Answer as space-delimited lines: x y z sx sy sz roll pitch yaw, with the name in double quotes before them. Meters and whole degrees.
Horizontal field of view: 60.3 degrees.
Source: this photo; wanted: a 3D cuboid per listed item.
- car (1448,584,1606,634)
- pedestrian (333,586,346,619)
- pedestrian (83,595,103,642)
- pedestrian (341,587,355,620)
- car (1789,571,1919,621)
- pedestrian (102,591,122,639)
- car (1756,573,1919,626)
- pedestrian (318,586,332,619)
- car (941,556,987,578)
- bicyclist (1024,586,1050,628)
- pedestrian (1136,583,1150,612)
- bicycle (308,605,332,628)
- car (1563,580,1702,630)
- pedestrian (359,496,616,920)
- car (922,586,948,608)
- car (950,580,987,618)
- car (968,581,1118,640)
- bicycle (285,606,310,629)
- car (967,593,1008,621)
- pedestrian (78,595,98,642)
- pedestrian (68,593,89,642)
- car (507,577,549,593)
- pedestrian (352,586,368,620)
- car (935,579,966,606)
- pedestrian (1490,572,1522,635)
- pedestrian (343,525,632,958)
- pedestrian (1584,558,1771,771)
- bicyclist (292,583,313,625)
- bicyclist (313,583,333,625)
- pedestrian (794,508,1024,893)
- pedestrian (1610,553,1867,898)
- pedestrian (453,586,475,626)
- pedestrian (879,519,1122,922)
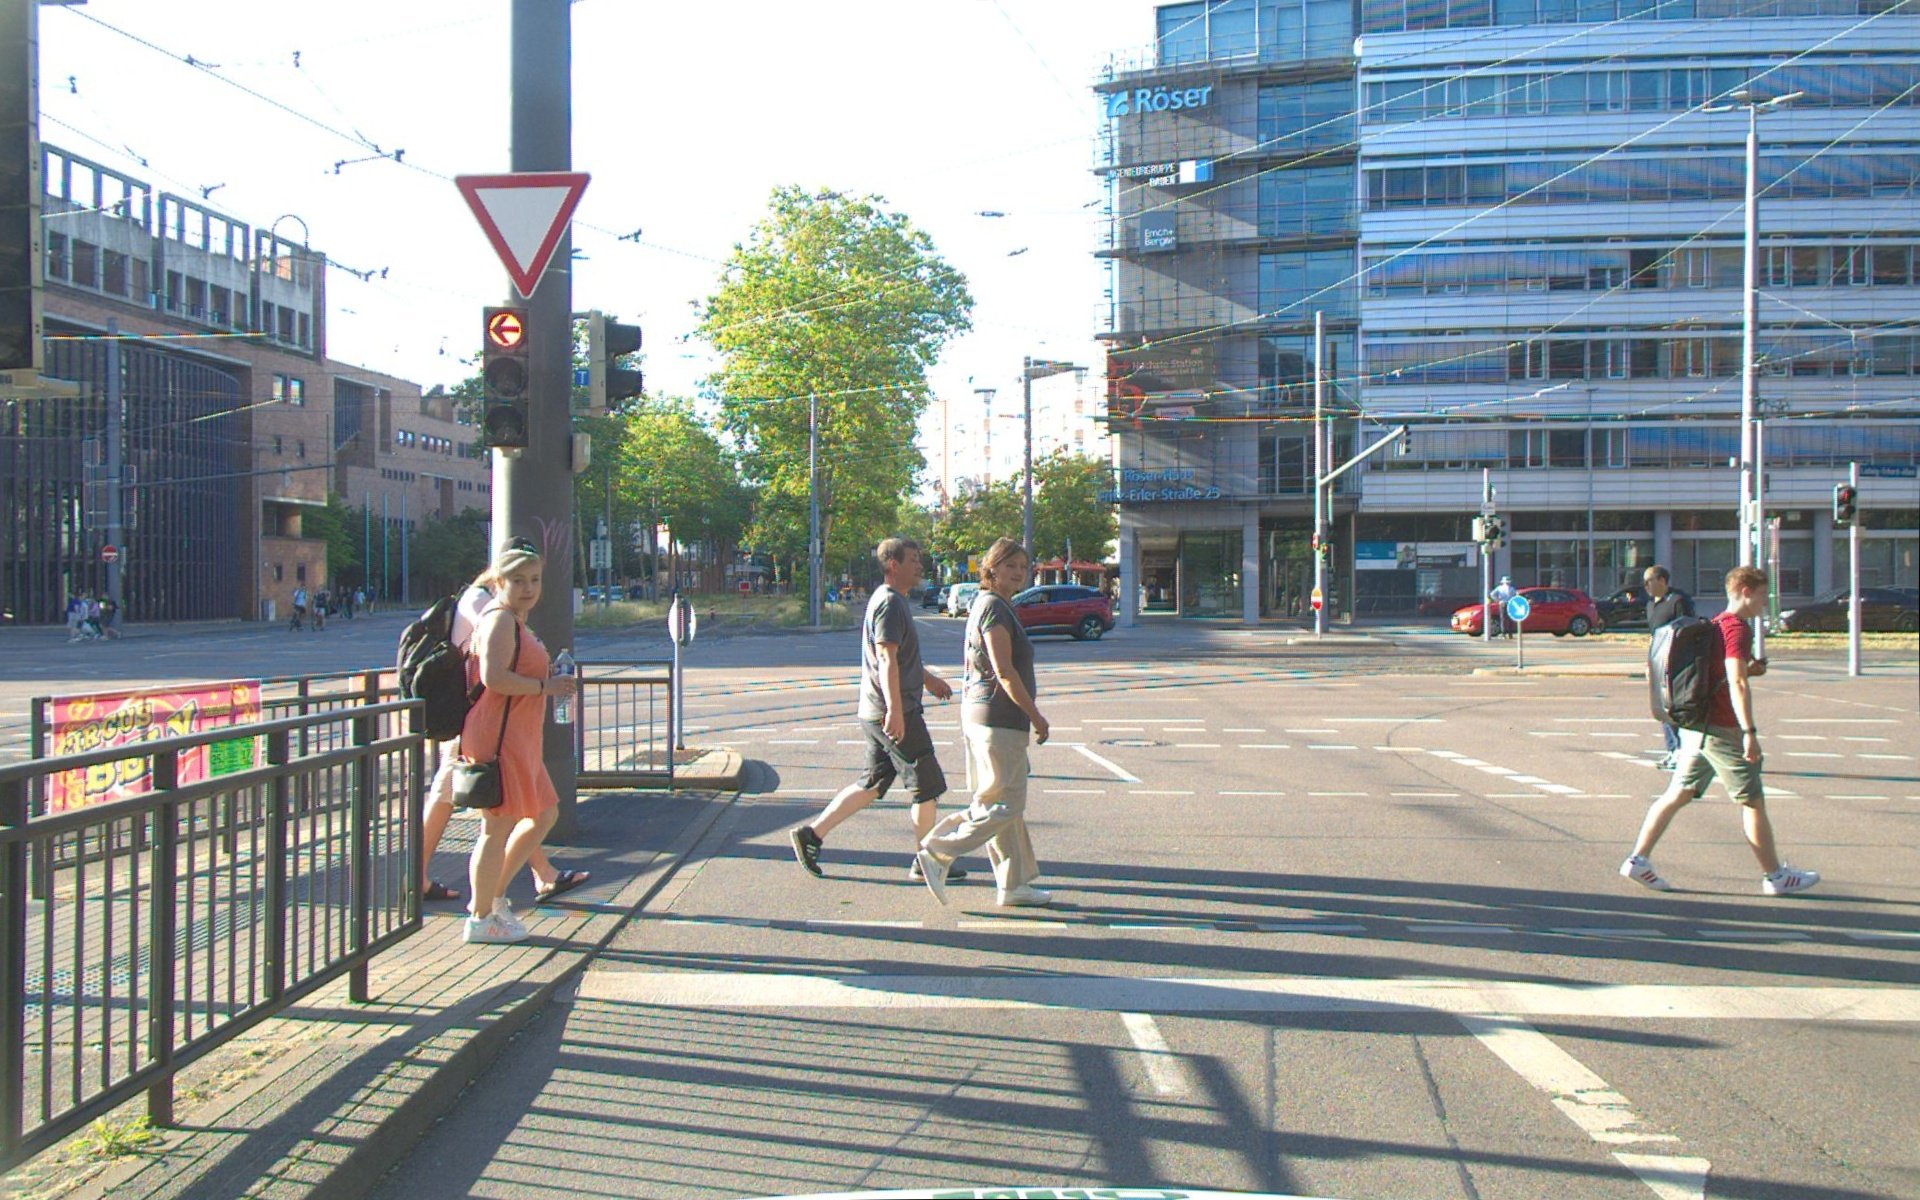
"car" 17.057 0.248 49.851 4.154 1.417 1.795 -1 0 -1
"pedestrian" -34.454 0.149 91.848 0.479 1.842 0.546 -1 0 6
"pedestrian" -31.508 0.663 60.112 0.528 1.679 0.622 -1 0 -20
"pedestrian" -33.465 0.192 90.409 0.511 1.810 0.546 -1 0 6
"car" 27.464 -0.136 49.727 4.151 1.459 1.797 -1 0 6
"pedestrian" -30.183 0.518 58.883 0.528 1.679 0.622 -1 0 -19
"car" 25.169 -0.018 47.053 4.151 1.417 1.796 -1 0 4
"pedestrian" -35.197 0.138 91.651 0.479 1.842 0.546 -1 0 6
"car" 0.378 -2.890 143.958 3.681 1.780 1.783 1 0 14
"bicyclist" 2.604 0.223 55.782 0.803 1.390 0.400 -1 0 -5
"pedestrian" 9.749 -0.131 88.085 0.723 1.491 0.537 -1 0 8
"bicycle" -26.284 0.680 67.935 0.503 0.897 1.835 -1 1 -9
"car" 21.638 0.136 53.312 3.781 1.533 1.796 -1 0 1
"pedestrian" -2.214 0.491 7.872 1.053 1.904 0.737 1 0 -8
"car" -1.946 -0.235 129.268 1.953 1.691 3.999 -1 1 -1
"car" 0.445 -0.085 92.277 1.953 2.026 3.999 -1 0 -1
"car" 2.447 0.294 49.072 4.163 1.630 1.791 -1 0 -10
"bicycle" -27.078 0.712 67.615 0.503 0.897 1.835 -1 1 -9
"car" 1.414 0.342 85.491 1.953 1.355 3.999 -1 1 -1
"pedestrian" -31.310 0.652 59.410 0.528 1.679 0.622 -1 0 -20
"pedestrian" -30.837 0.606 57.880 0.528 1.679 0.622 -1 0 -20
"car" -45.706 -1.563 174.978 3.948 1.579 1.589 1 0 -32
"pedestrian" -33.270 0.174 91.664 0.627 1.842 0.546 -1 0 6
"car" -0.643 -0.479 107.572 1.953 1.691 3.999 -1 1 -1
"pedestrian" 14.986 0.092 45.407 0.704 1.711 0.557 1 0 6
"pedestrian" -1.954 0.564 6.982 1.052 1.711 0.756 1 0 -8
"pedestrian" 6.500 0.568 15.043 1.185 1.854 1.040 1 0 -6
"bicyclist" -26.929 0.143 67.725 0.582 1.705 0.788 -1 0 -7
"bicyclist" -26.186 0.158 67.993 0.582 1.705 0.788 -1 0 -7
"pedestrian" -0.295 0.506 8.768 1.123 1.927 0.831 1 0 -8
"pedestrian" 4.089 0.640 8.731 1.052 1.745 0.628 1 0 -5
"pedestrian" -19.352 0.237 64.502 0.740 1.557 0.507 1 0 -8
"pedestrian" 0.173 0.553 7.978 1.051 1.837 0.756 1 0 -8
